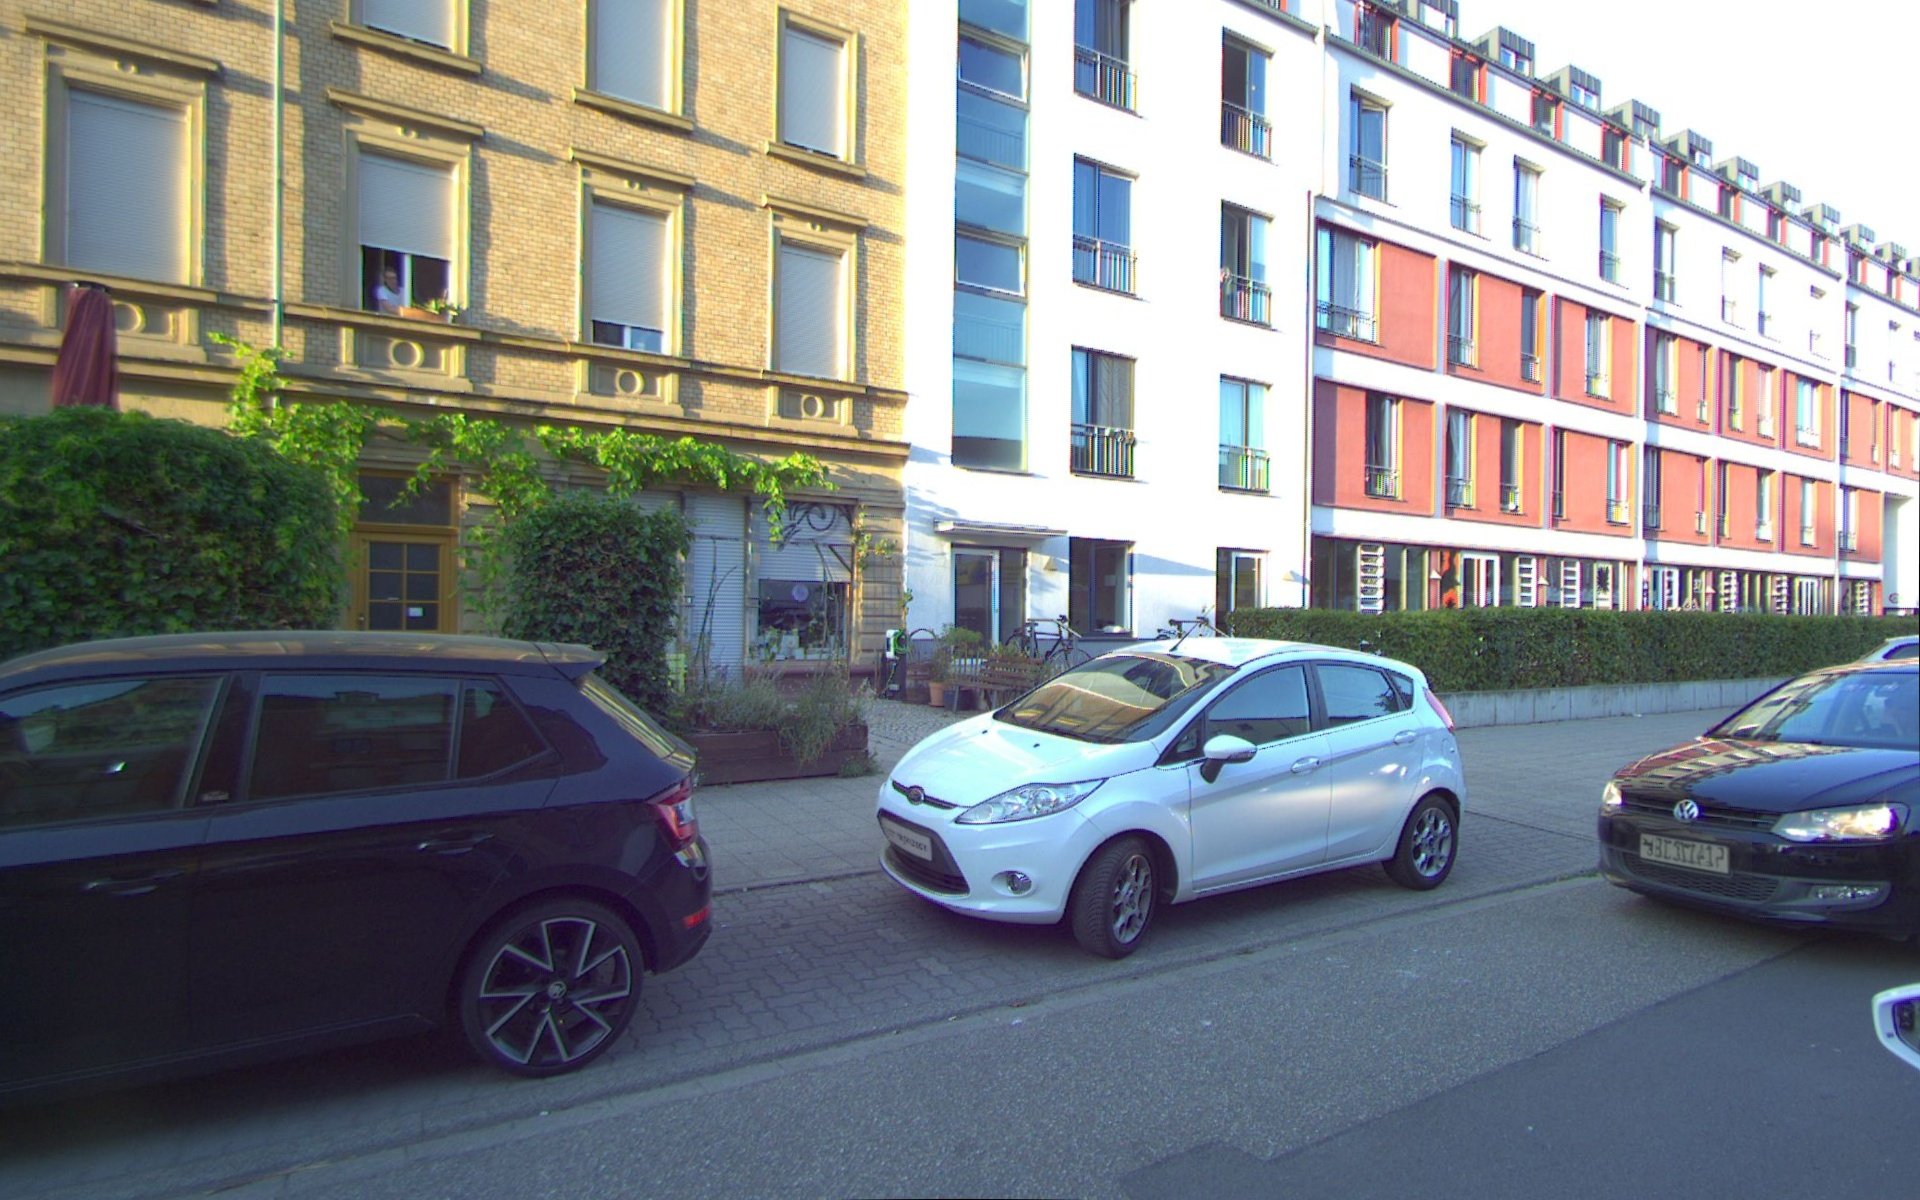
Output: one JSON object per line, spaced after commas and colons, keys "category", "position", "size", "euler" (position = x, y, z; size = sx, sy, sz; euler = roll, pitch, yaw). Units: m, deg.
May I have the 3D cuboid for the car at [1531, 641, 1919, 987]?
{"category": "car", "position": [5.468, 0.976, 5.627], "size": [3.875, 1.474, 1.653], "euler": [0, -3, -15]}

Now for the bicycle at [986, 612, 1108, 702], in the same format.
{"category": "bicycle", "position": [1.223, 0.778, 14.518], "size": [0.802, 1.157, 1.907], "euler": [1, 1, -29]}

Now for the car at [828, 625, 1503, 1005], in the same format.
{"category": "car", "position": [1.369, 0.955, 6.011], "size": [3.975, 1.550, 1.641], "euler": [1, 0, -34]}

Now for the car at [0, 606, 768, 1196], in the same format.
{"category": "car", "position": [-2.784, 0.815, 3.532], "size": [3.800, 1.554, 1.695], "euler": [1, 0, -31]}

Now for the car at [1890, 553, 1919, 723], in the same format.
{"category": "car", "position": [16.542, 0.634, 14.254], "size": [1.976, 2.619, 4.492], "euler": [1, 1, -29]}

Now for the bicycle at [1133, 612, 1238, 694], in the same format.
{"category": "bicycle", "position": [3.503, 0.793, 15.754], "size": [0.603, 1.163, 1.768], "euler": [1, 1, -28]}

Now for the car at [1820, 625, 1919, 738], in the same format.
{"category": "car", "position": [14.341, 1.156, 12.959], "size": [1.861, 1.480, 4.587], "euler": [1, 1, -33]}
